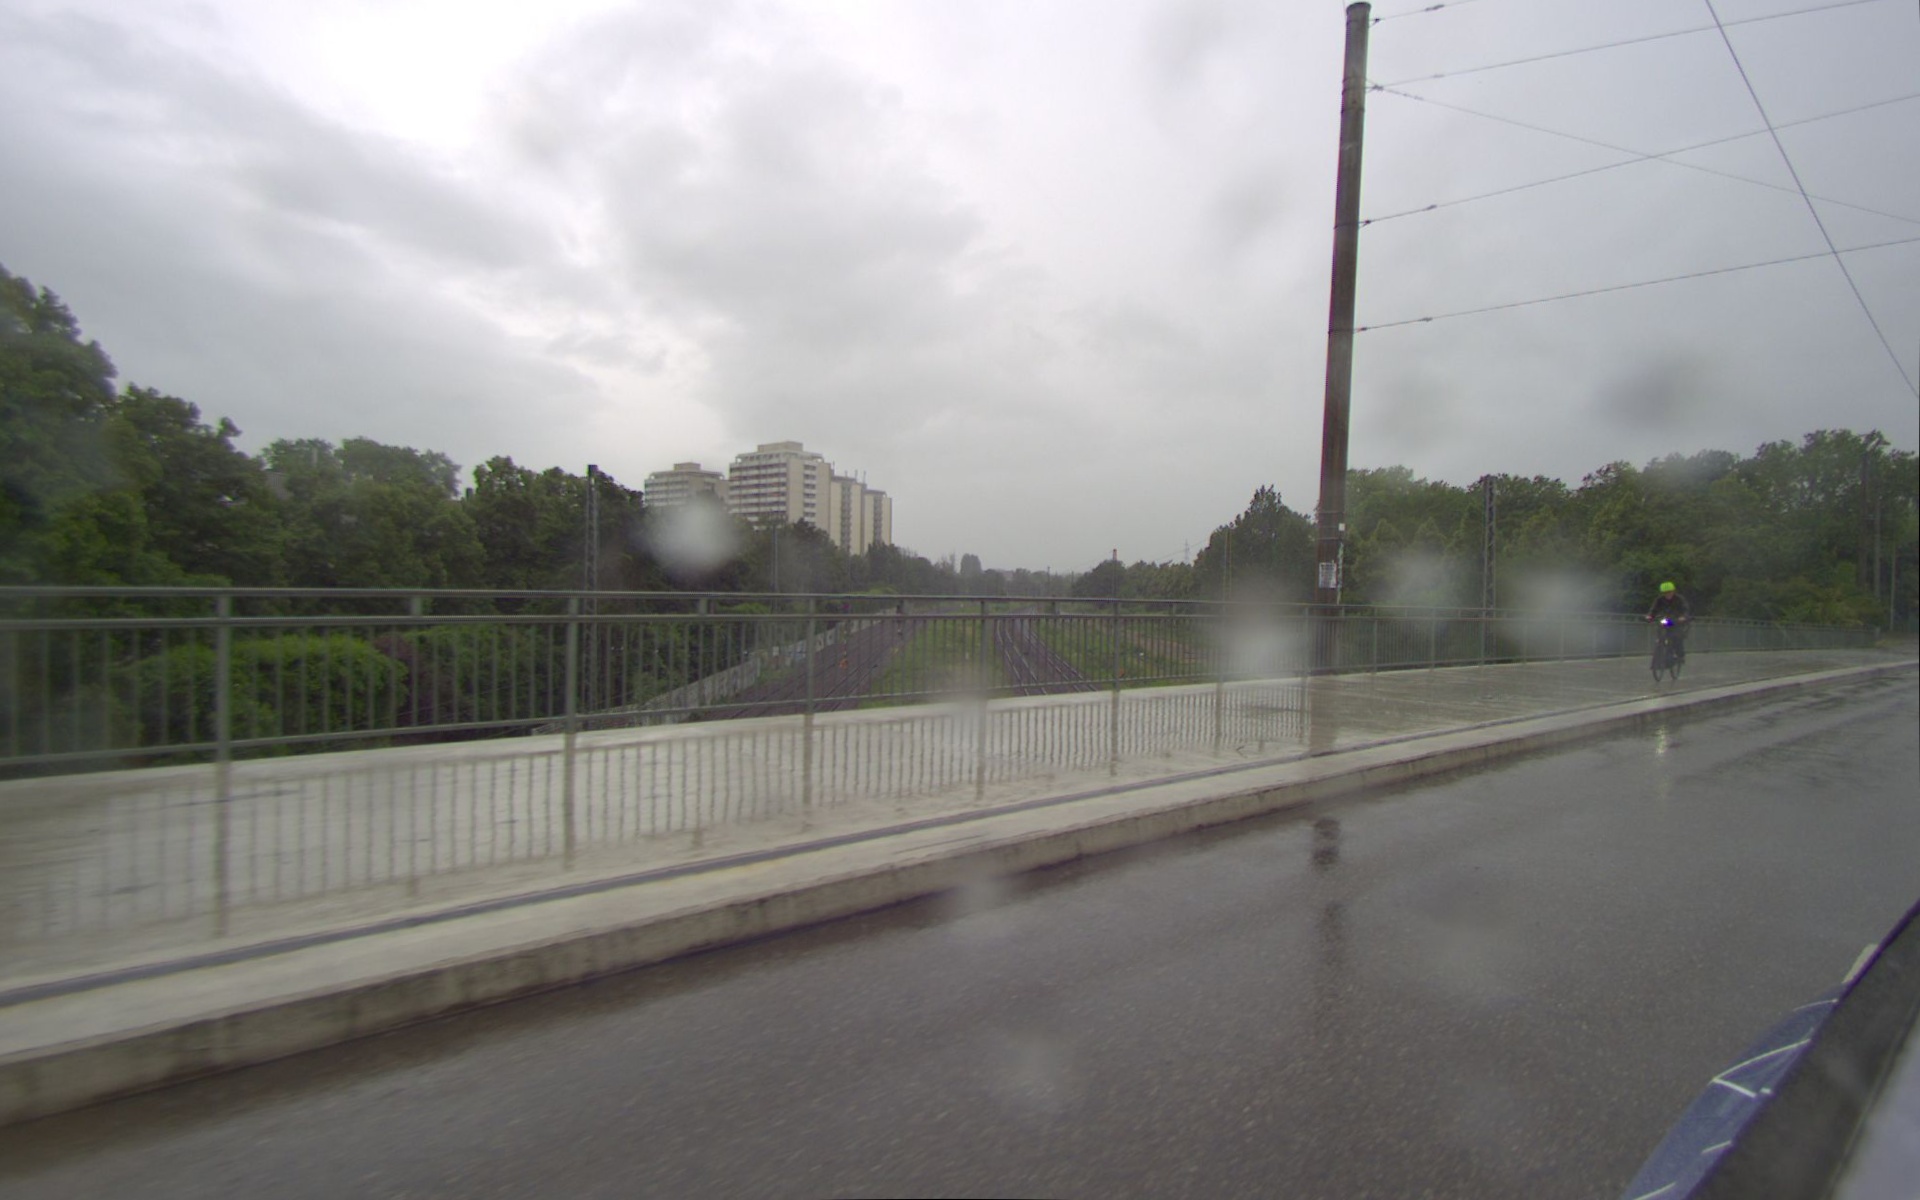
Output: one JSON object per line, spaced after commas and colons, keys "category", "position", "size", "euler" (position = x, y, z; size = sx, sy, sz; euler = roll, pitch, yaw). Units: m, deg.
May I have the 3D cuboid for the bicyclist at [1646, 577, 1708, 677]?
{"category": "bicyclist", "position": [13.300, 0.481, 18.778], "size": [0.933, 1.786, 0.726], "euler": [0, 0, -41]}

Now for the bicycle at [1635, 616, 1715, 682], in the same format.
{"category": "bicycle", "position": [13.257, 0.875, 18.750], "size": [2.130, 1.143, 0.724], "euler": [0, -1, -41]}
